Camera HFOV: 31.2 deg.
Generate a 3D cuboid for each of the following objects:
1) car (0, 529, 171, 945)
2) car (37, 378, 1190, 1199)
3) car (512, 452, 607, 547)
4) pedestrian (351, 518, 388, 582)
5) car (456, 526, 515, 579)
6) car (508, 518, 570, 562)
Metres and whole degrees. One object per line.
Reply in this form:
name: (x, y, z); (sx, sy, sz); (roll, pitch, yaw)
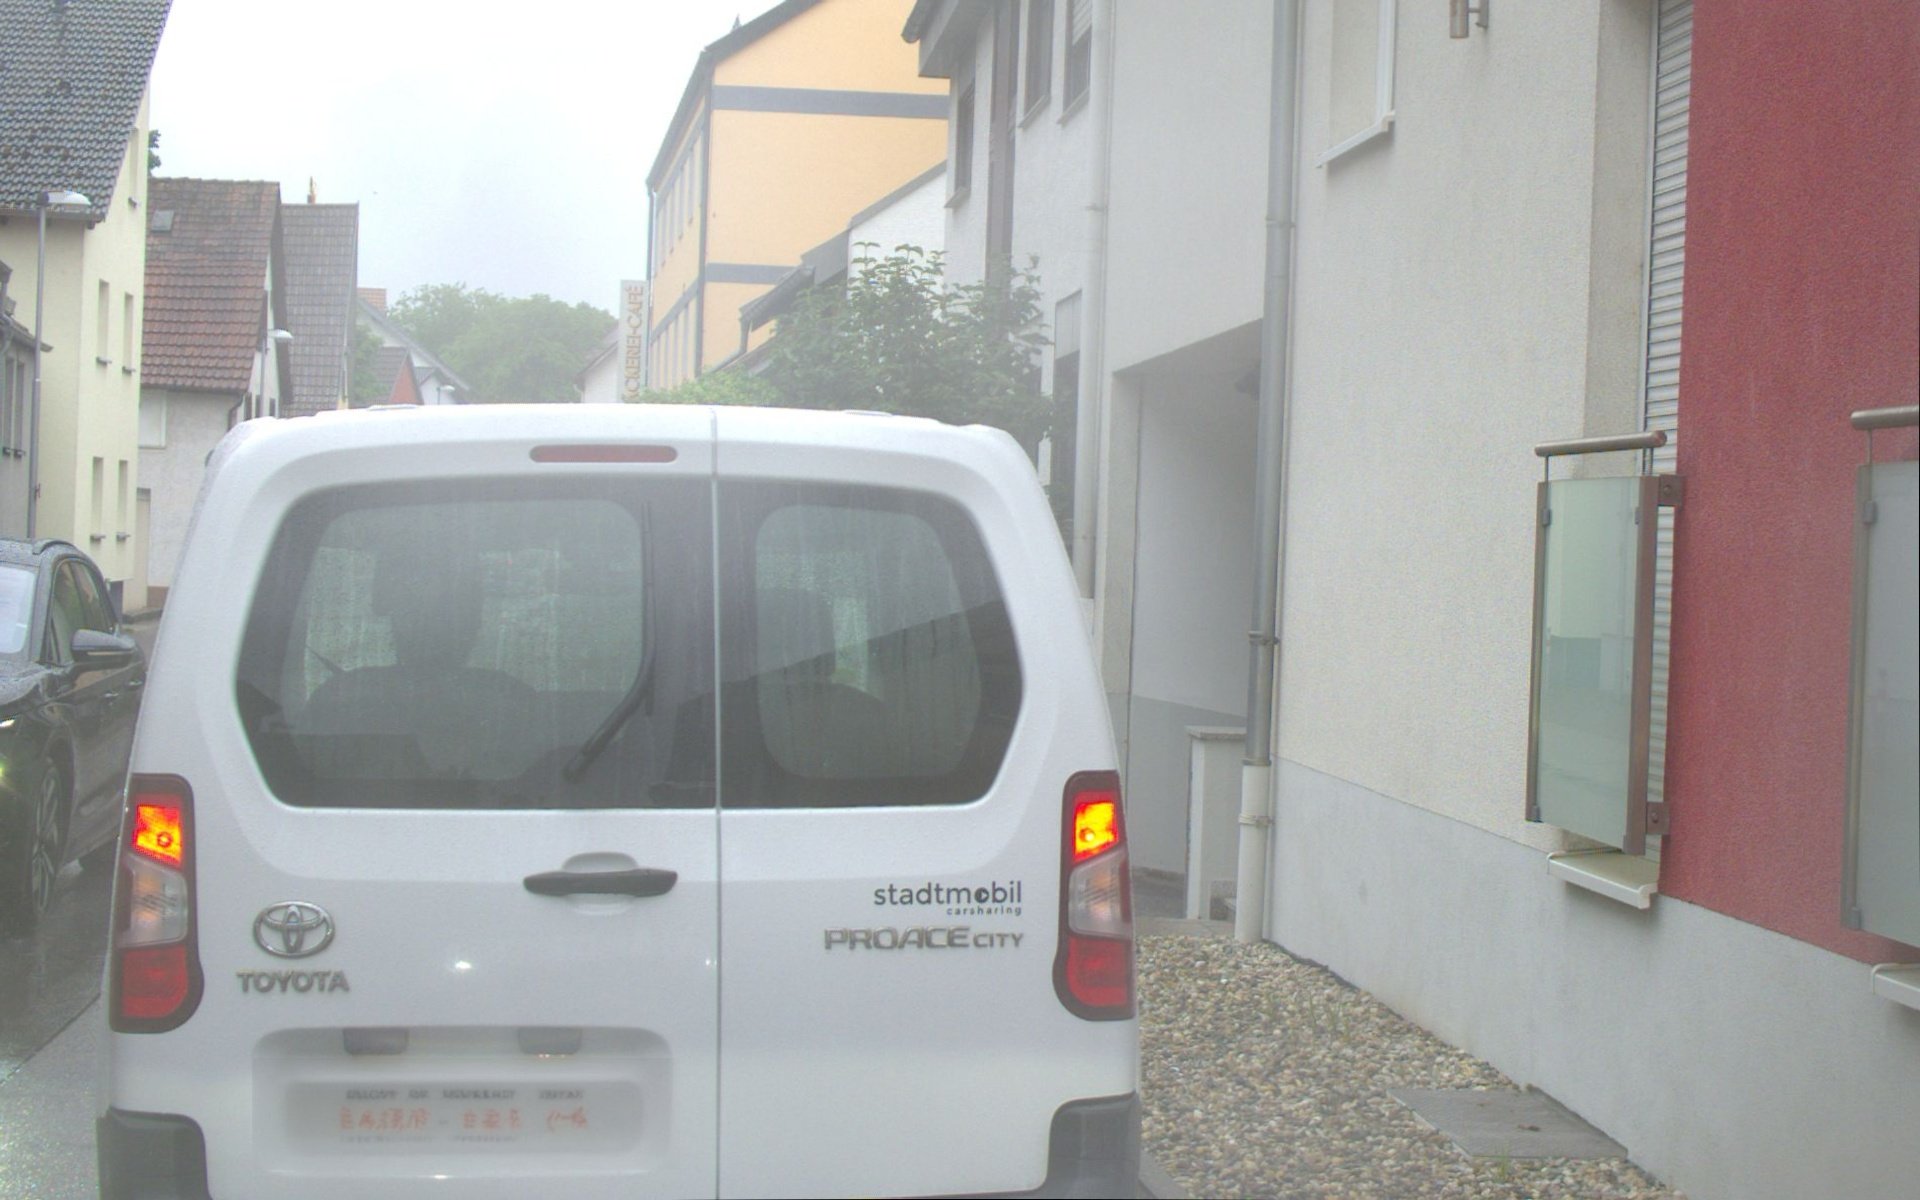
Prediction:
car: (-4.622, 0.454, 14.860); (1.832, 1.550, 4.240); (2, 0, -6)
car: (-0.833, 0.536, 7.340); (1.774, 1.774, 4.001); (1, 1, -9)
car: (-8.859, -2.204, 76.234); (1.993, 2.007, 4.001); (1, 1, -6)
pedestrian: (-17.635, -1.488, 102.670); (1.050, 1.886, 0.877); (1, 0, -9)
car: (-13.828, -1.382, 100.014); (1.560, 1.472, 4.001); (1, 1, -10)
car: (-13.624, -1.926, 111.098); (1.779, 1.390, 4.001); (1, 1, -10)
